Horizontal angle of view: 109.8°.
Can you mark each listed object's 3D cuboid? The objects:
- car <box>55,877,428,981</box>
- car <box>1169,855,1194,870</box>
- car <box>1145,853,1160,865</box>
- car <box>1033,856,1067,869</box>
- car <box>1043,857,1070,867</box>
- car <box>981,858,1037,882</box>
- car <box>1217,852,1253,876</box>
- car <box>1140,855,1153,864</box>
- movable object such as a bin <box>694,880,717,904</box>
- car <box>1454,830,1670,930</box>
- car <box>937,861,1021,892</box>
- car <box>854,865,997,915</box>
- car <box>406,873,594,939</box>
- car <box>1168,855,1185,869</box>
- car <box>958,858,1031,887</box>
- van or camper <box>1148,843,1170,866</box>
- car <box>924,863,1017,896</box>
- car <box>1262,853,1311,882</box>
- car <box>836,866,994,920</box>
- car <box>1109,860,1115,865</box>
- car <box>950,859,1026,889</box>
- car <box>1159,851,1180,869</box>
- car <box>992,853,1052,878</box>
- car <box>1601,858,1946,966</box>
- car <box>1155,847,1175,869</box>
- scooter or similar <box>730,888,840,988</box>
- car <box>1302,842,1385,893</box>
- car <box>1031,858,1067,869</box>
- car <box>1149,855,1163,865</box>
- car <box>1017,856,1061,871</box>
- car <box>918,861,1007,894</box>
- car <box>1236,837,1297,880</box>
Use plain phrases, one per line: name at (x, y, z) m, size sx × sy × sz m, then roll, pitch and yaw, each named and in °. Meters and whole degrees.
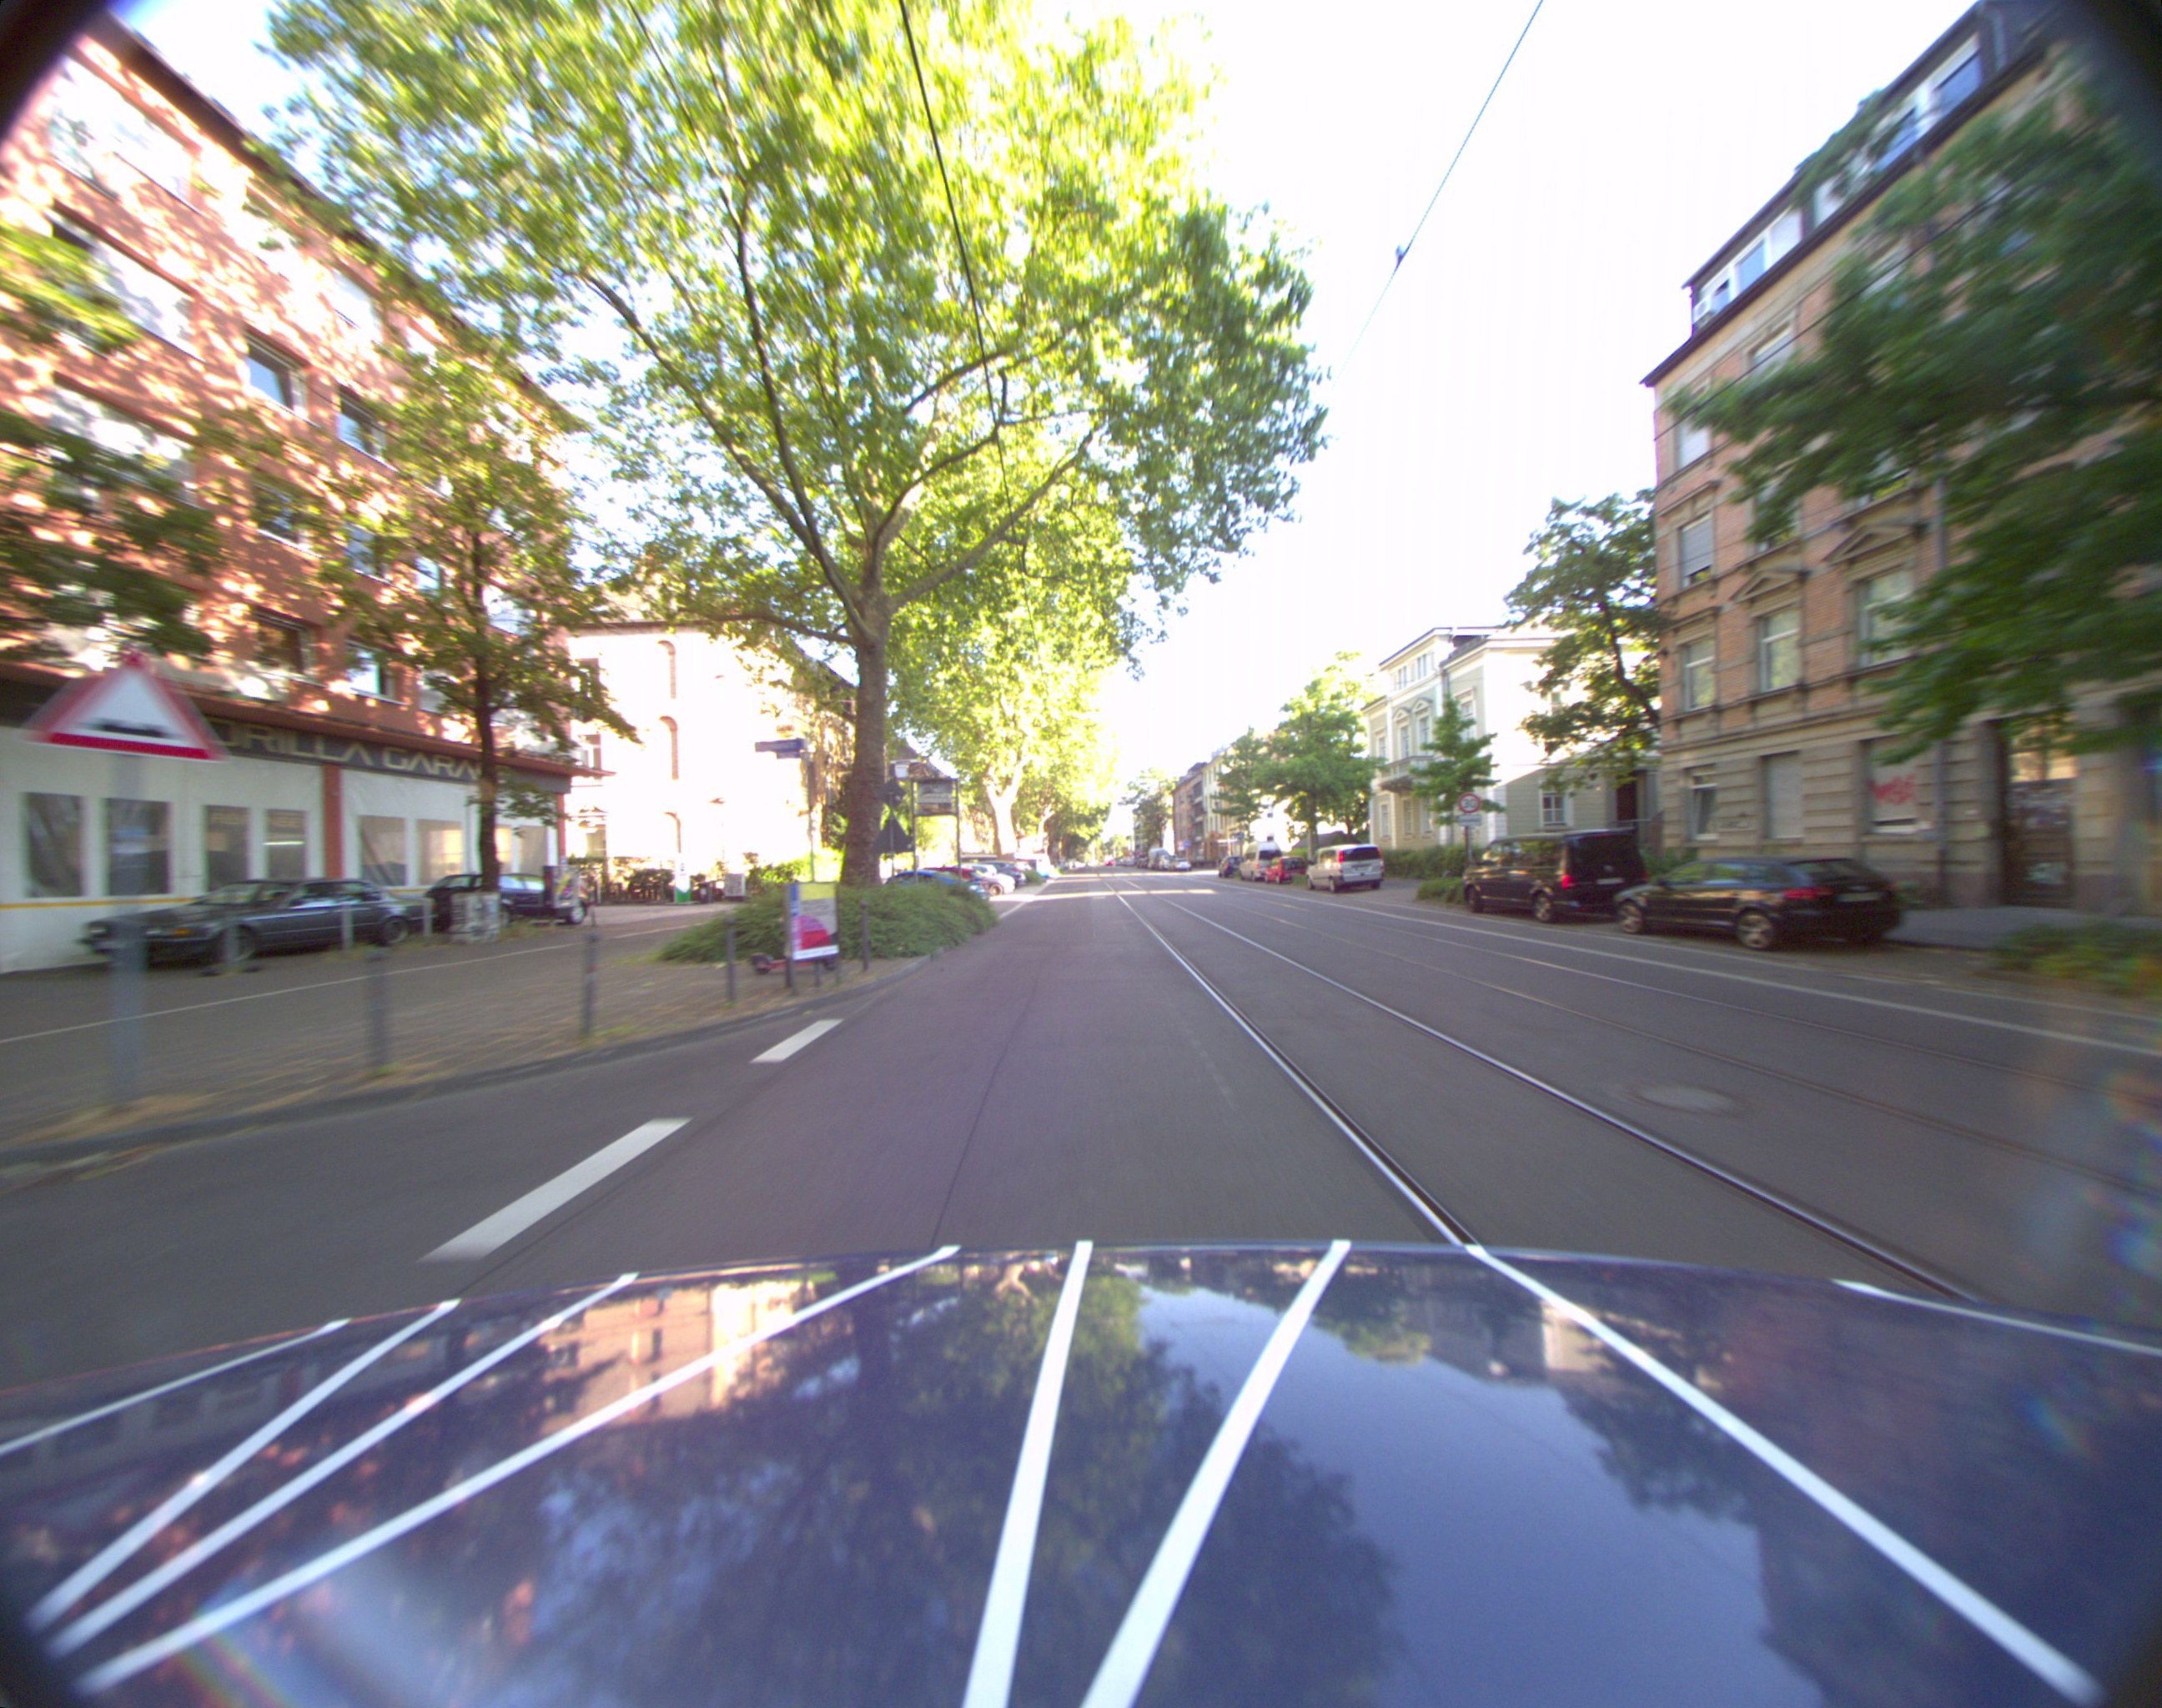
car at (-14.680, 1.203, 13.786) m, size 1.753 × 1.426 × 4.468 m, roll -1°, pitch 0°, yaw 1°
car at (11.040, 0.939, 83.659) m, size 1.776 × 1.483 × 4.940 m, roll -3°, pitch 0°, yaw -2°
car at (11.066, 0.832, 118.555) m, size 1.791 × 1.743 × 4.435 m, roll -3°, pitch 0°, yaw -1°
car at (-4.297, 1.187, 105.578) m, size 4.611 × 1.631 × 1.893 m, roll -1°, pitch -1°, yaw 3°
car at (-4.203, 1.375, 130.518) m, size 4.611 × 1.631 × 1.893 m, roll -1°, pitch -1°, yaw 3°
car at (-4.990, 1.118, 53.261) m, size 3.792 × 1.609 × 1.790 m, roll 0°, pitch 0°, yaw -2°
car at (11.355, 0.693, 56.285) m, size 1.997 × 1.680 × 4.262 m, roll -1°, pitch 0°, yaw 3°
car at (11.065, 0.928, 129.022) m, size 1.791 × 1.462 × 4.435 m, roll -3°, pitch 0°, yaw -1°
movable object such as a bin at (-15.326, 1.541, 31.026) m, size 0.658 × 0.934 × 0.447 m, roll -1°, pitch 1°, yaw 5°
car at (11.066, 0.545, 18.010) m, size 1.999 × 2.002 × 4.834 m, roll -1°, pitch 0°, yaw -1°
car at (-5.544, 1.197, 41.618) m, size 4.209 × 1.565 × 1.818 m, roll -1°, pitch 0°, yaw 3°
car at (-5.263, 1.193, 26.061) m, size 4.413 × 1.534 × 1.952 m, roll -1°, pitch 0°, yaw 3°
car at (-14.753, 1.257, 19.603) m, size 1.753 × 1.426 × 3.950 m, roll -1°, pitch 0°, yaw 1°
car at (11.107, 0.914, 88.461) m, size 1.575 × 1.484 × 2.883 m, roll -3°, pitch 0°, yaw 1°
car at (-5.273, 1.123, 46.631) m, size 4.209 × 1.609 × 1.818 m, roll -1°, pitch 0°, yaw 3°
van or camper at (10.953, 0.093, 106.859) m, size 2.423 × 2.960 × 5.991 m, roll -5°, pitch 0°, yaw 1°
car at (-5.296, 1.223, 36.800) m, size 4.210 × 1.439 × 1.817 m, roll -1°, pitch 0°, yaw 0°
car at (11.358, 0.729, 42.158) m, size 1.689 × 1.530 × 3.707 m, roll -1°, pitch 0°, yaw 0°
car at (-5.104, 1.191, 23.666) m, size 4.412 × 1.534 × 1.818 m, roll -1°, pitch 0°, yaw 7°
car at (9.096, 2.539, 224.427) m, size 1.769 × 1.448 × 3.586 m, roll -1°, pitch 0°, yaw 1°
car at (-5.318, 1.128, 43.920) m, size 4.211 × 1.609 × 1.878 m, roll -1°, pitch 0°, yaw -2°
car at (10.967, 0.721, 94.293) m, size 1.928 × 2.034 × 4.941 m, roll -3°, pitch 0°, yaw -1°
car at (-4.794, 0.945, 62.121) m, size 4.859 × 2.002 × 2.194 m, roll 0°, pitch 0°, yaw -3°
car at (11.144, 0.826, 12.751) m, size 1.858 × 1.450 × 4.270 m, roll -1°, pitch 0°, yaw -1°
car at (11.057, 0.492, 100.301) m, size 1.927 × 2.730 × 4.546 m, roll -6°, pitch 0°, yaw 1°
scooter or similar at (-3.904, 1.093, 10.075) m, size 1.211 × 1.232 × 0.569 m, roll -1°, pitch 1°, yaw -1°
car at (11.014, 0.532, 32.229) m, size 1.848 × 1.977 × 4.988 m, roll -1°, pitch 0°, yaw 1°
car at (-4.227, 1.260, 100.991) m, size 4.611 × 1.485 × 1.893 m, roll -1°, pitch -1°, yaw 3°
car at (11.198, 0.884, 113.644) m, size 1.791 × 1.506 × 3.473 m, roll -3°, pitch 0°, yaw -1°
car at (-4.716, 1.083, 85.572) m, size 4.810 × 1.621 × 1.893 m, roll -1°, pitch -1°, yaw 0°
car at (-6.073, 1.192, 39.287) m, size 4.209 × 1.546 × 1.818 m, roll -1°, pitch 0°, yaw 3°
car at (11.419, 0.263, 47.115) m, size 2.310 × 2.493 × 5.343 m, roll -1°, pitch 0°, yaw -1°
